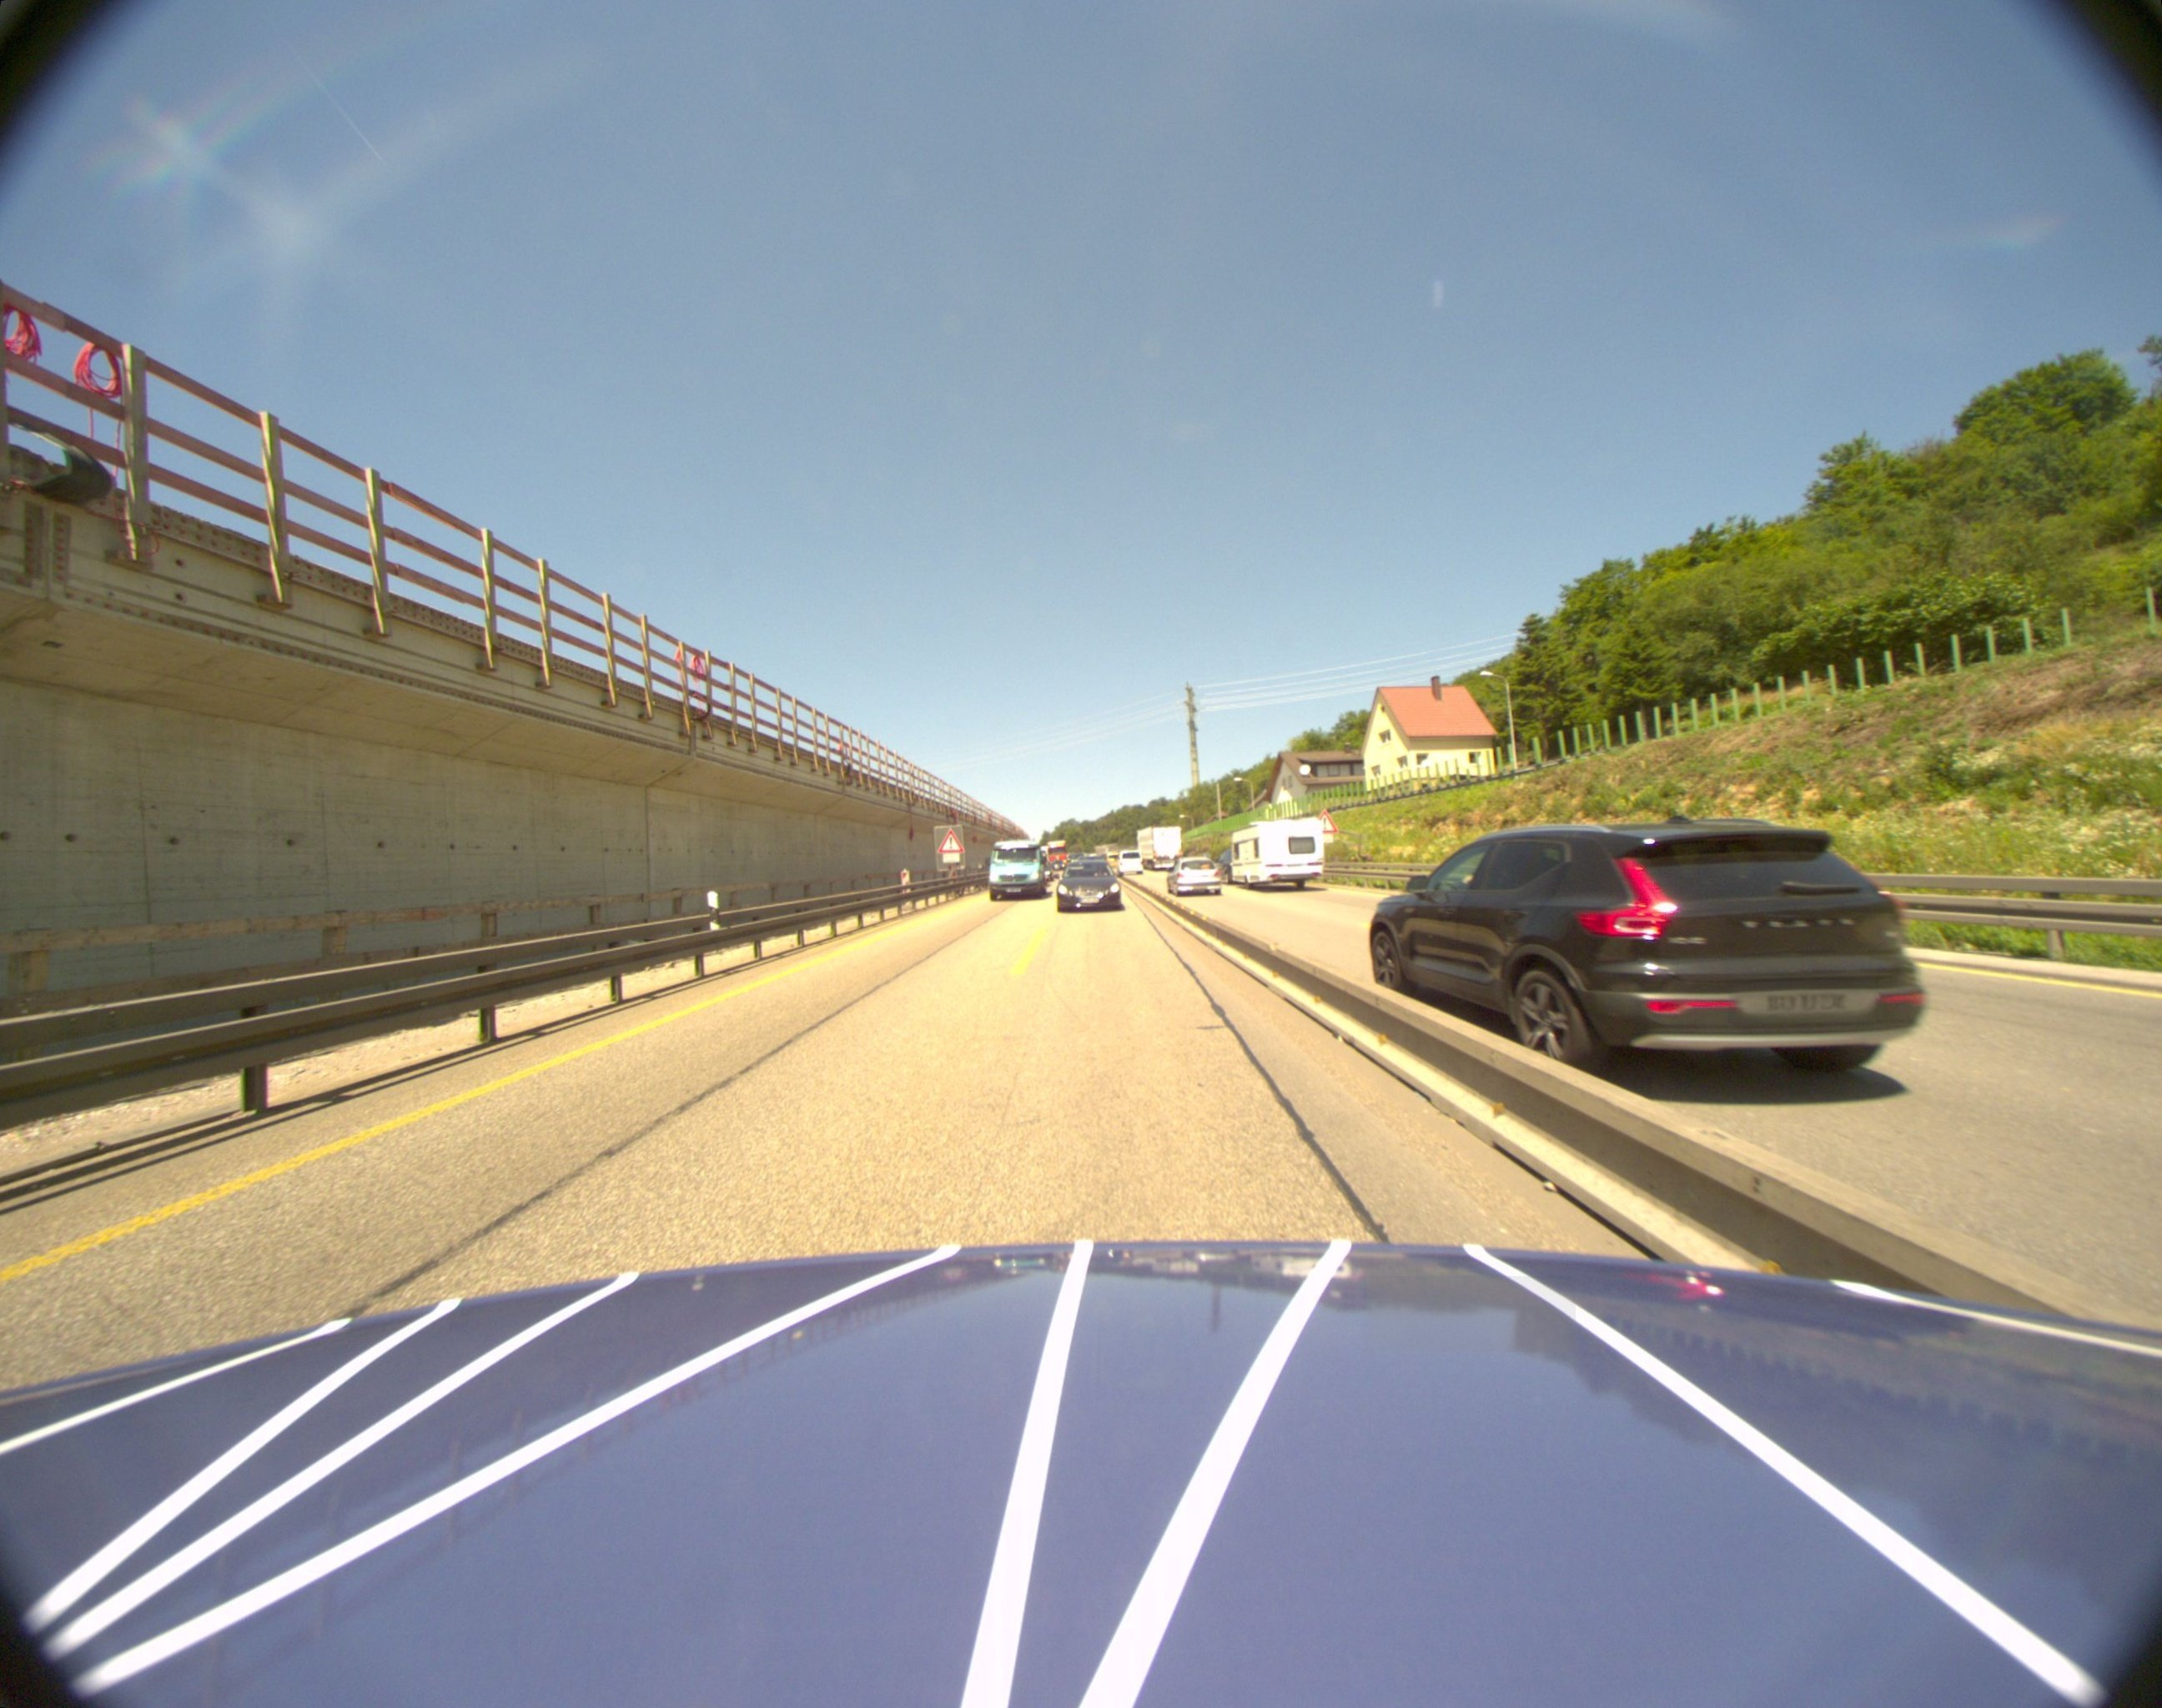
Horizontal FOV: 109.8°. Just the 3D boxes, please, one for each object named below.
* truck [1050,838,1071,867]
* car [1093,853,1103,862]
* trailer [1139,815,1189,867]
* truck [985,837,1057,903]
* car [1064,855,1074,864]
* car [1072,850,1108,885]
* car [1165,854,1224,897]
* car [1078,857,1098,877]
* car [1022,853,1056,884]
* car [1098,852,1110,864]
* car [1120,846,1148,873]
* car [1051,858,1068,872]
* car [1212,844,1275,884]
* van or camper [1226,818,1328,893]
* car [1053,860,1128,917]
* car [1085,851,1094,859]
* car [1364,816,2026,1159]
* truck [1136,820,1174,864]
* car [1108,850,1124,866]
[{"bbox_3d":[-3.075,-0.259,116.550,2.750,4.221,9.094,-2,1,0],"label":"truck"},{"bbox_3d":[3.528,0.743,156.777,1.884,1.805,4.000,-2,1,2],"label":"car"},{"bbox_3d":[7.800,-1.184,73.767,3.111,4.416,14.627,-2,1,0],"label":"trailer"},{"bbox_3d":[-2.319,0.550,31.586,2.139,2.343,7.432,-2,1,1],"label":"truck"},{"bbox_3d":[-2.637,1.176,168.276,1.998,2.002,3.999,-2,1,0],"label":"car"},{"bbox_3d":[0.593,0.733,43.954,1.884,1.805,4.250,-2,1,2],"label":"car"},{"bbox_3d":[4.230,0.754,28.815,1.671,1.442,3.905,-2,0,1],"label":"car"},{"bbox_3d":[0.770,1.416,83.311,1.998,2.002,3.999,-2,1,0],"label":"car"},{"bbox_3d":[-2.720,0.915,50.032,1.885,1.805,4.250,-2,1,0],"label":"car"},{"bbox_3d":[3.723,0.697,123.146,1.884,1.805,4.000,-2,1,2],"label":"car"},{"bbox_3d":[4.269,0.435,62.056,1.998,2.002,4.166,-2,0,1],"label":"car"},{"bbox_3d":[-2.640,1.337,94.061,1.883,1.532,4.281,-2,1,0],"label":"car"},{"bbox_3d":[7.712,0.419,36.476,1.998,1.745,4.687,-2,1,1],"label":"car"},{"bbox_3d":[7.671,0.019,30.655,2.356,2.619,6.902,-2,1,1],"label":"van or camper"},{"bbox_3d":[0.306,0.942,22.885,1.998,1.440,4.602,-2,0,1],"label":"car"},{"bbox_3d":[2.055,0.290,183.532,1.884,1.805,4.000,-2,1,2],"label":"car"},{"bbox_3d":[3.855,0.684,5.851,1.875,1.674,4.000,-2,0,1],"label":"car"},{"bbox_3d":[7.800,-1.259,81.107,3.111,4.368,8.505,-2,1,0],"label":"truck"},{"bbox_3d":[4.284,0.489,92.497,1.884,1.805,4.000,-2,1,2],"label":"car"}]
